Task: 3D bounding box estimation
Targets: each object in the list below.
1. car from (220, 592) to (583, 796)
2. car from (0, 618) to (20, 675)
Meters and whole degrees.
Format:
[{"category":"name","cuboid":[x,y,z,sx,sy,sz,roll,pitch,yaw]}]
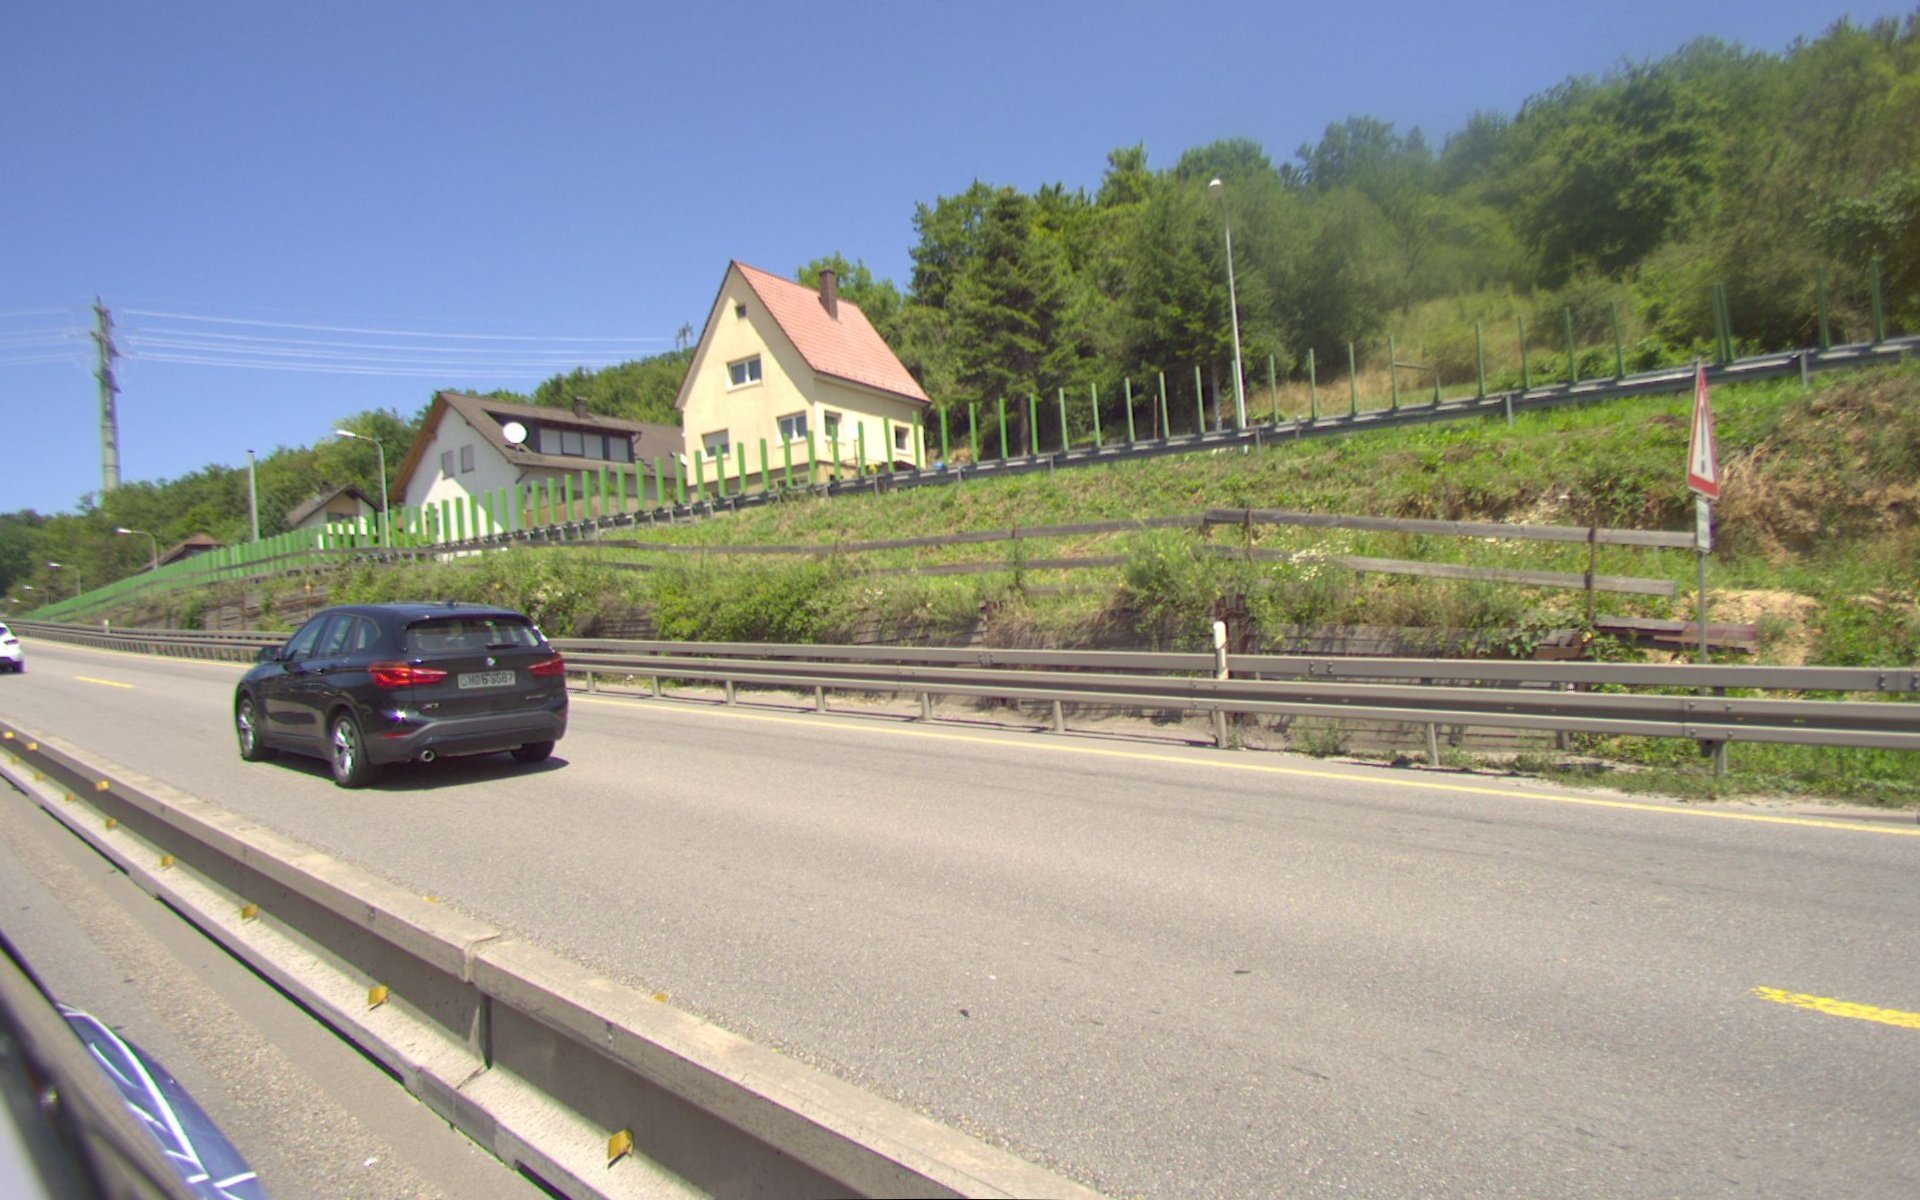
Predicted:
[{"category":"car","cuboid":[-5.515,0.757,9.784,4.099,1.573,1.683,-1,0,40]},{"category":"car","cuboid":[-27.373,1.283,27.885,3.746,1.497,1.674,-1,0,39]}]
